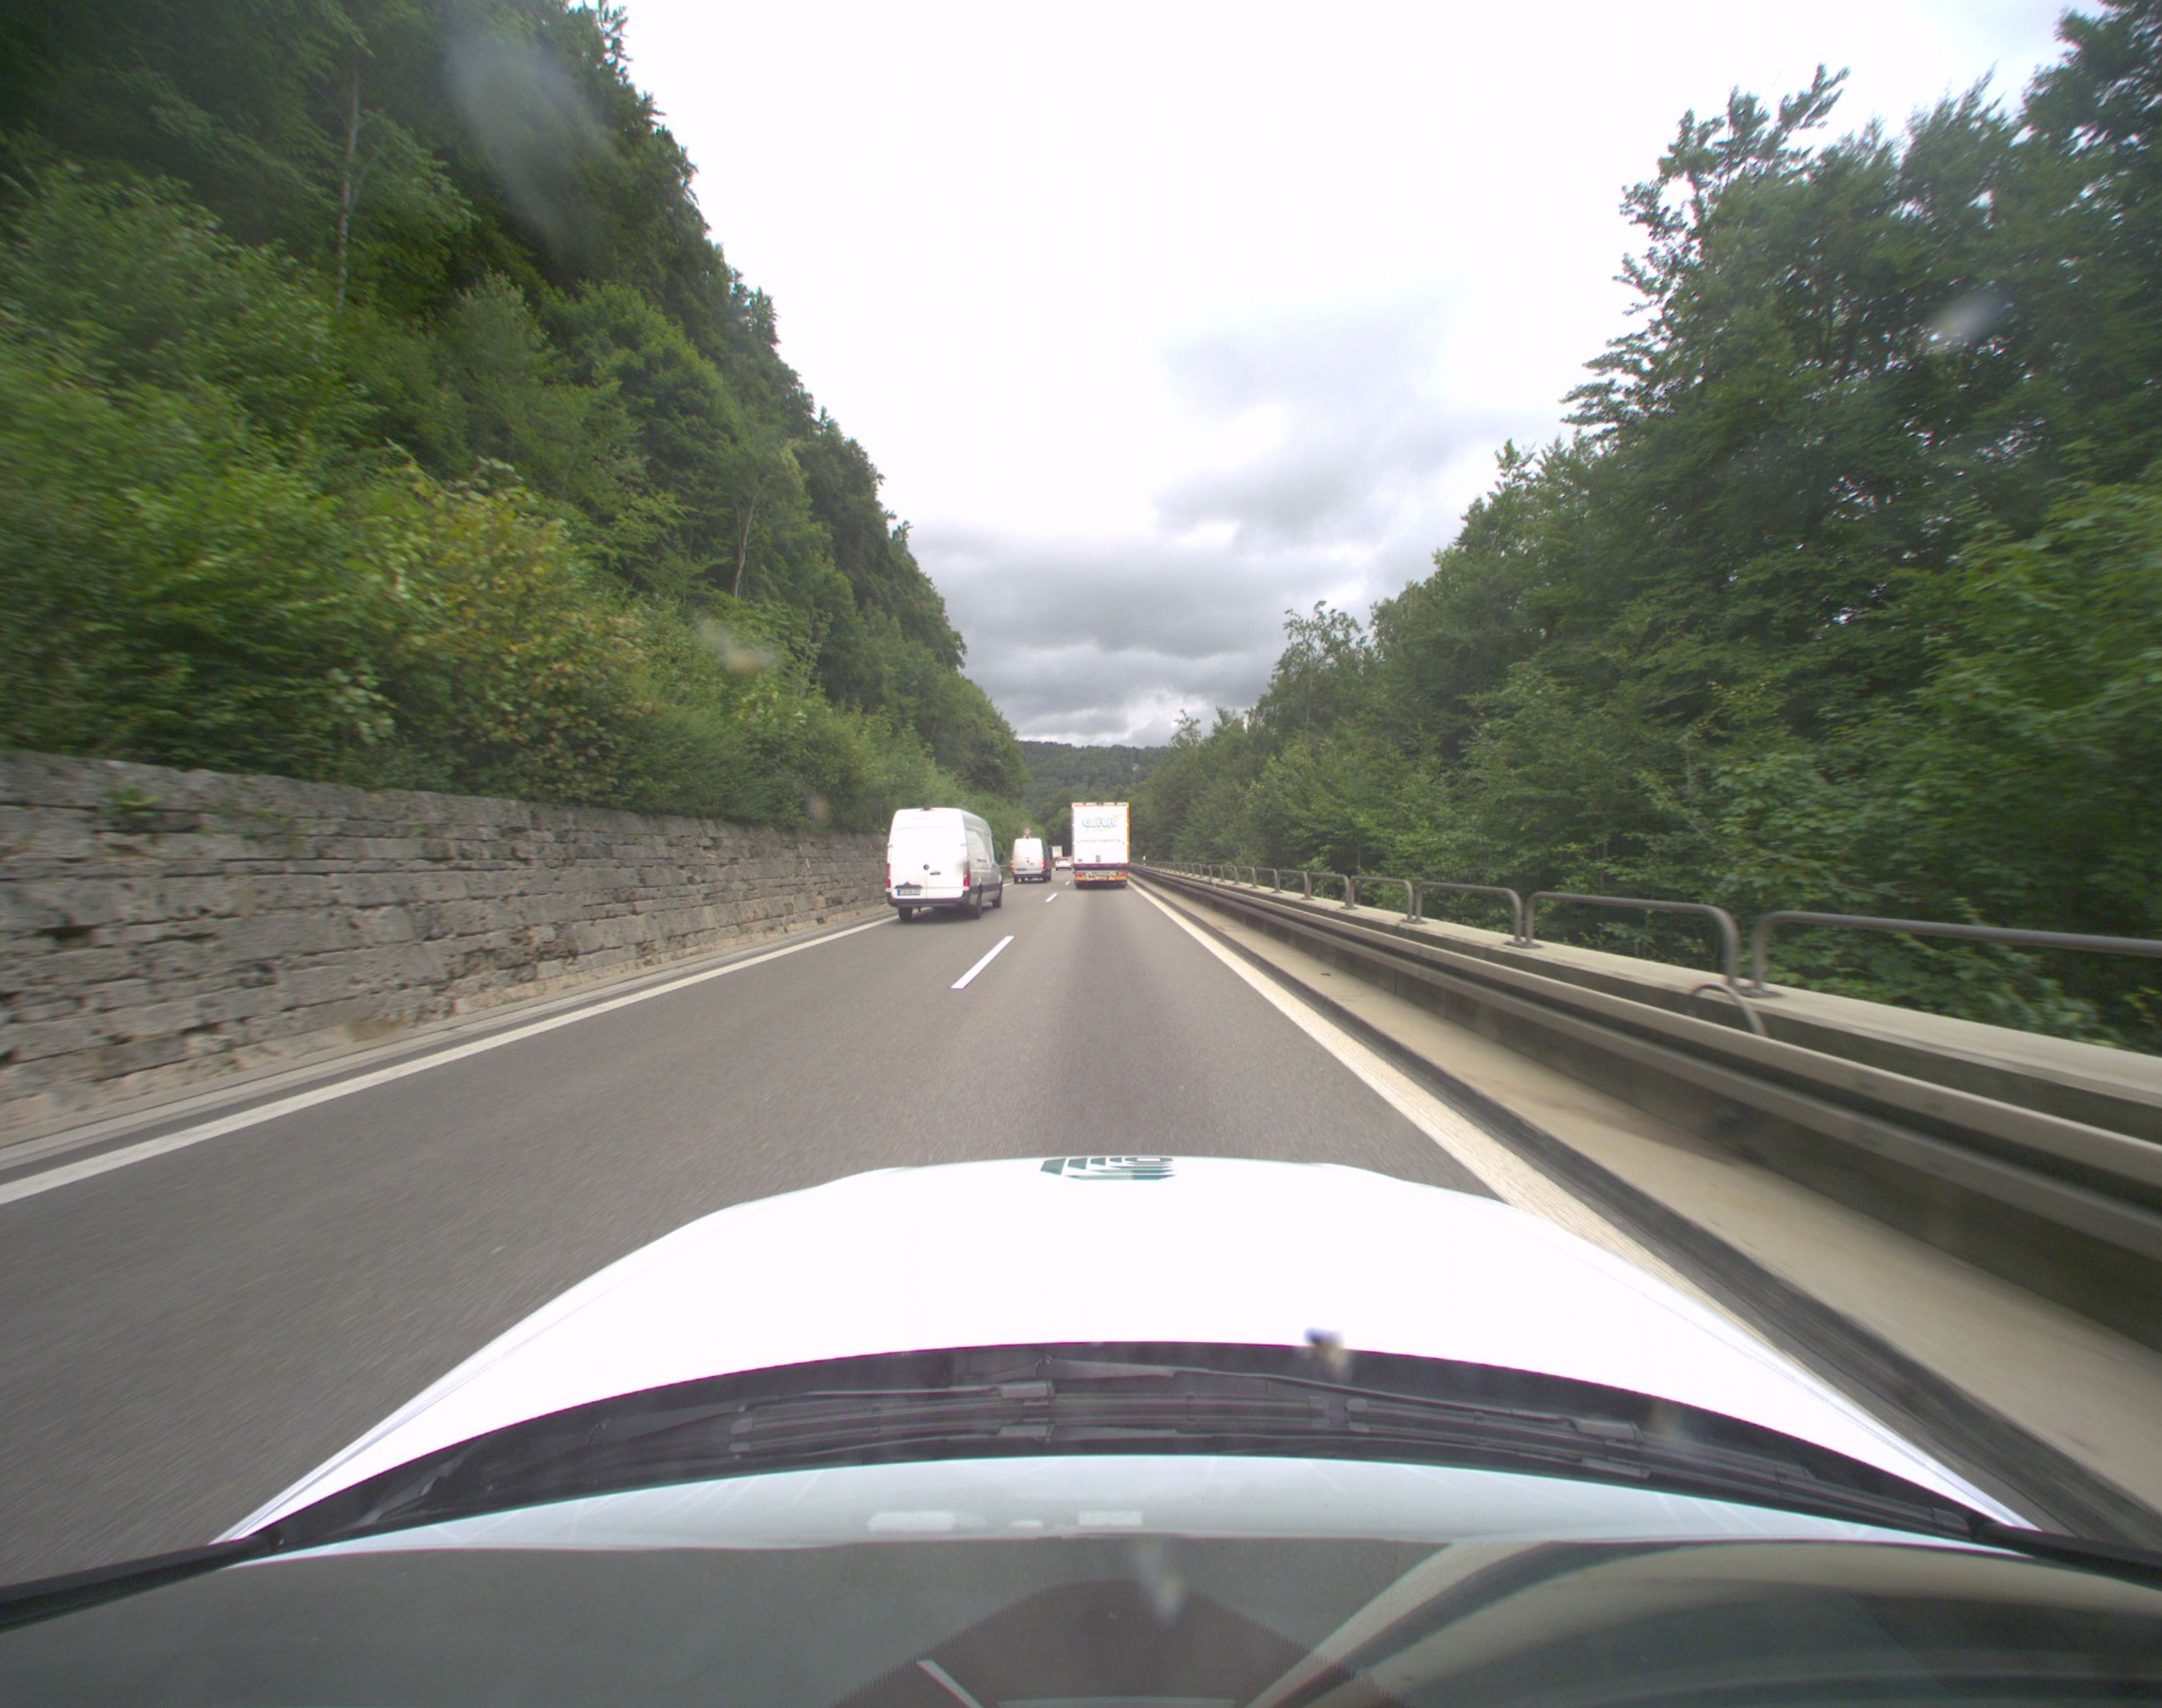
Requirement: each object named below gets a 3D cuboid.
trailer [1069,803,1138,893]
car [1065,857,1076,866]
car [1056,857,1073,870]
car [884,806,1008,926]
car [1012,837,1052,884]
[{"bbox_3d":[1.125,-0.400,42.254,3.046,3.986,12.140,0,1,1],"label":"trailer"},{"bbox_3d":[-1.632,1.183,126.504,1.726,1.421,4.000,0,0,0],"label":"car"},{"bbox_3d":[-1.852,1.037,92.255,1.725,1.421,4.002,0,0,2],"label":"car"},{"bbox_3d":[-3.349,0.270,21.795,1.982,2.672,6.937,-1,0,1],"label":"car"},{"bbox_3d":[-2.943,0.364,50.025,1.932,2.672,5.993,-1,0,1],"label":"car"}]
